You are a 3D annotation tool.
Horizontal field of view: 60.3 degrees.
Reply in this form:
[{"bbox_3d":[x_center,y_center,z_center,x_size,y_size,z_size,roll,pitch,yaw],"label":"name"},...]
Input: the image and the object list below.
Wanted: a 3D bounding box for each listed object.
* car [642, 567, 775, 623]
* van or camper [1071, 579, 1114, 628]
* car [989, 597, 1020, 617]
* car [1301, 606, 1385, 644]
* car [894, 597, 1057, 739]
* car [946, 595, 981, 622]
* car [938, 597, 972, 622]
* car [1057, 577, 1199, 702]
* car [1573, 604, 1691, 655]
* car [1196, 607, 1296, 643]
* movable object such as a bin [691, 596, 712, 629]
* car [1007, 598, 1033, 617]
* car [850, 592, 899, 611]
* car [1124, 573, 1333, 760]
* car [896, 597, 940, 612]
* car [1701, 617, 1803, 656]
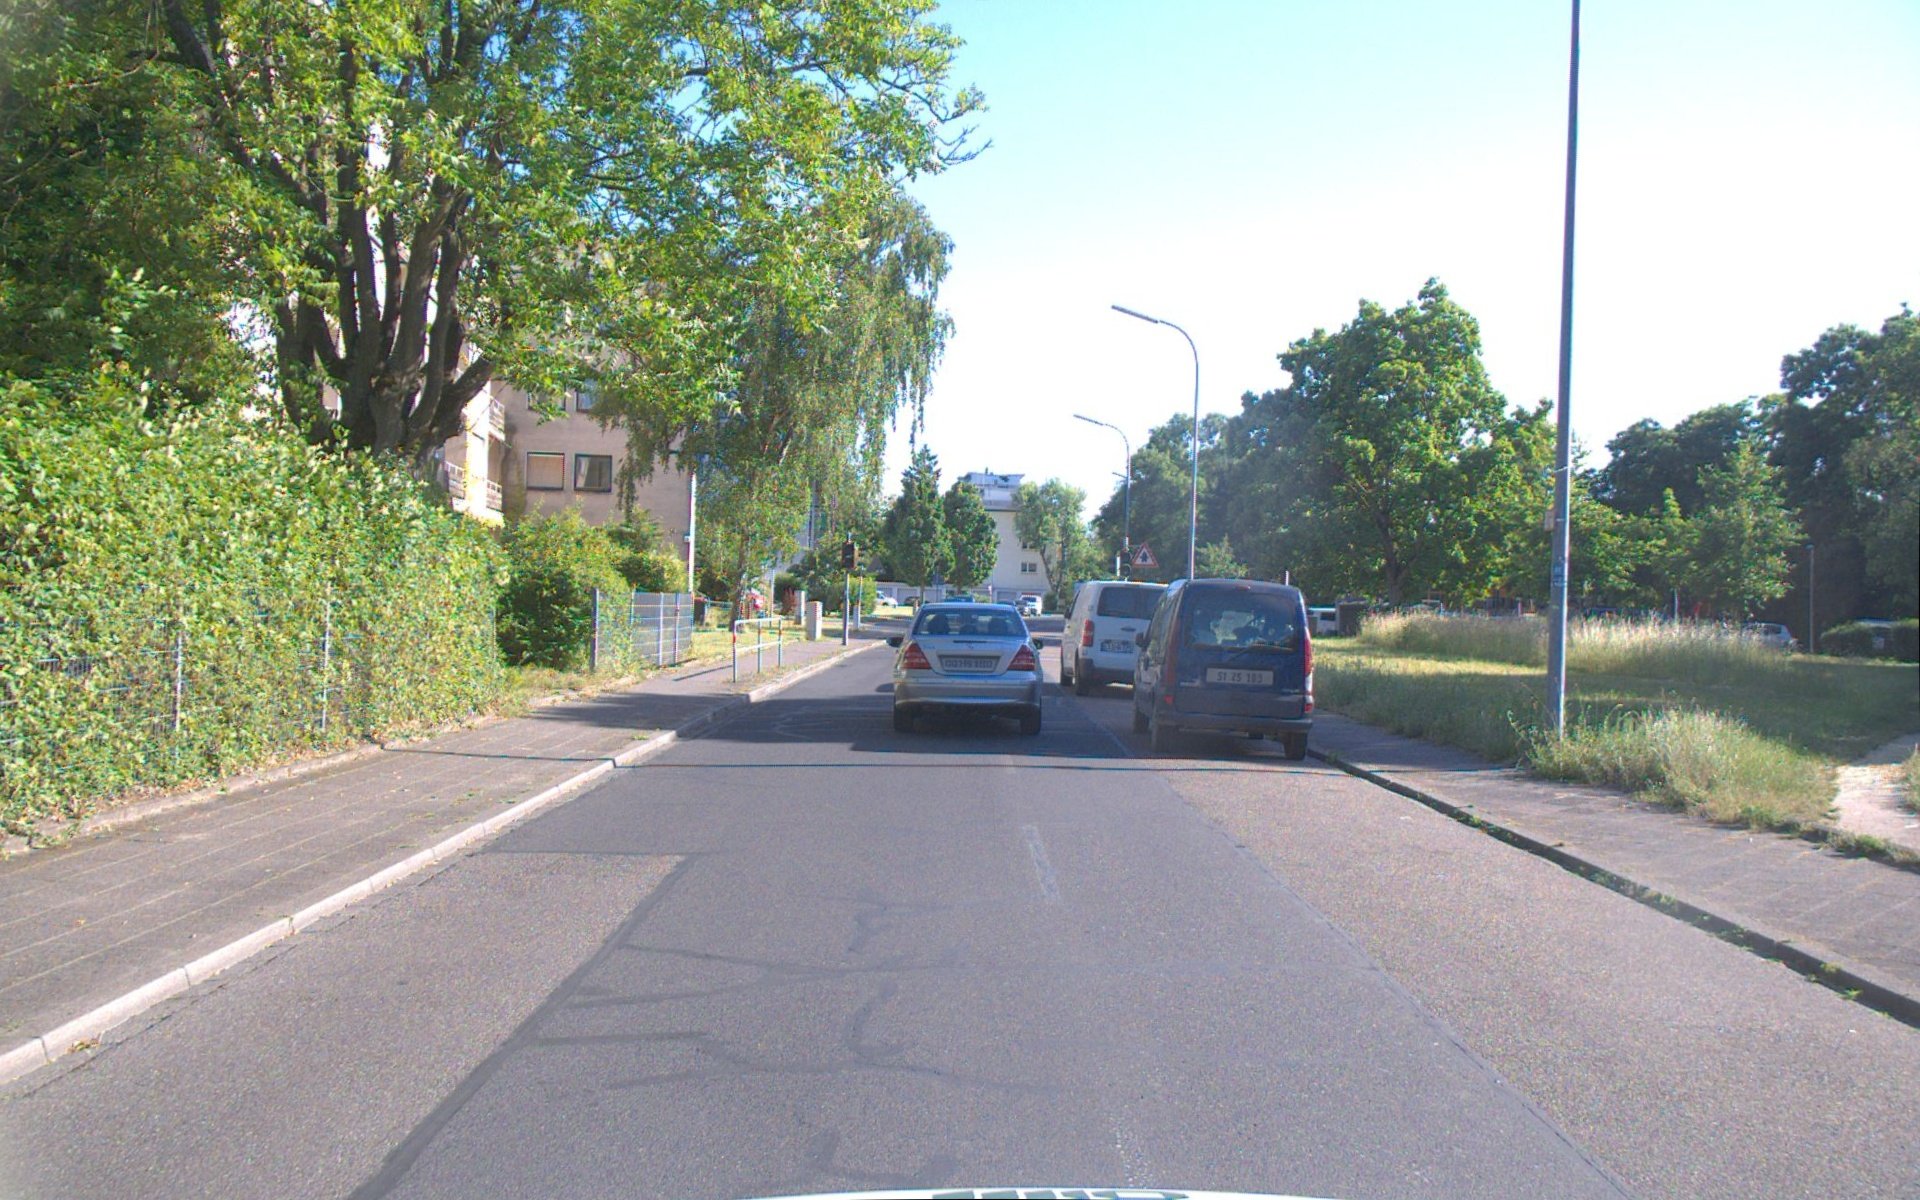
[{"bbox_3d":[-11.705,-0.243,77.283,5.781,2.471,2.214,1,1,2],"label":"car"},{"bbox_3d":[7.574,0.208,94.345,2.302,2.642,6.429,-1,0,5],"label":"van or camper"},{"bbox_3d":[3.751,0.604,138.613,1.992,1.518,5.260,4,0,8],"label":"car"},{"bbox_3d":[17.229,1.106,74.546,3.606,1.605,1.830,2,0,11],"label":"car"},{"bbox_3d":[0.129,0.718,19.200,1.698,1.459,3.437,1,0,-1],"label":"car"},{"bbox_3d":[0.250,0.547,110.006,1.874,1.631,4.815,4,0,4],"label":"car"},{"bbox_3d":[-0.301,0.590,103.525,1.612,1.492,4.333,2,0,6],"label":"car"},{"bbox_3d":[2.823,0.626,28.819,1.876,1.904,4.865,3,0,0],"label":"car"},{"bbox_3d":[29.384,1.257,72.431,4.408,2.047,2.276,1,0,11],"label":"car"},{"bbox_3d":[12.958,1.118,75.136,4.331,1.360,1.747,2,2,8],"label":"car"},{"bbox_3d":[-8.533,0.417,54.630,0.554,1.072,0.554,2,-1,-19],"label":"movable object such as a bin"},{"bbox_3d":[5.475,0.712,151.332,1.794,1.544,4.225,3,0,9],"label":"car"},{"bbox_3d":[-9.420,0.123,182.539,4.998,1.985,2.238,1,0,16],"label":"car"},{"bbox_3d":[2.846,0.651,18.339,1.663,1.760,4.084,3,0,1],"label":"car"},{"bbox_3d":[-4.573,0.494,181.268,4.348,1.486,2.044,1,0,15],"label":"car"},{"bbox_3d":[36.911,1.675,77.169,3.784,1.639,2.001,2,0,5],"label":"car"}]
